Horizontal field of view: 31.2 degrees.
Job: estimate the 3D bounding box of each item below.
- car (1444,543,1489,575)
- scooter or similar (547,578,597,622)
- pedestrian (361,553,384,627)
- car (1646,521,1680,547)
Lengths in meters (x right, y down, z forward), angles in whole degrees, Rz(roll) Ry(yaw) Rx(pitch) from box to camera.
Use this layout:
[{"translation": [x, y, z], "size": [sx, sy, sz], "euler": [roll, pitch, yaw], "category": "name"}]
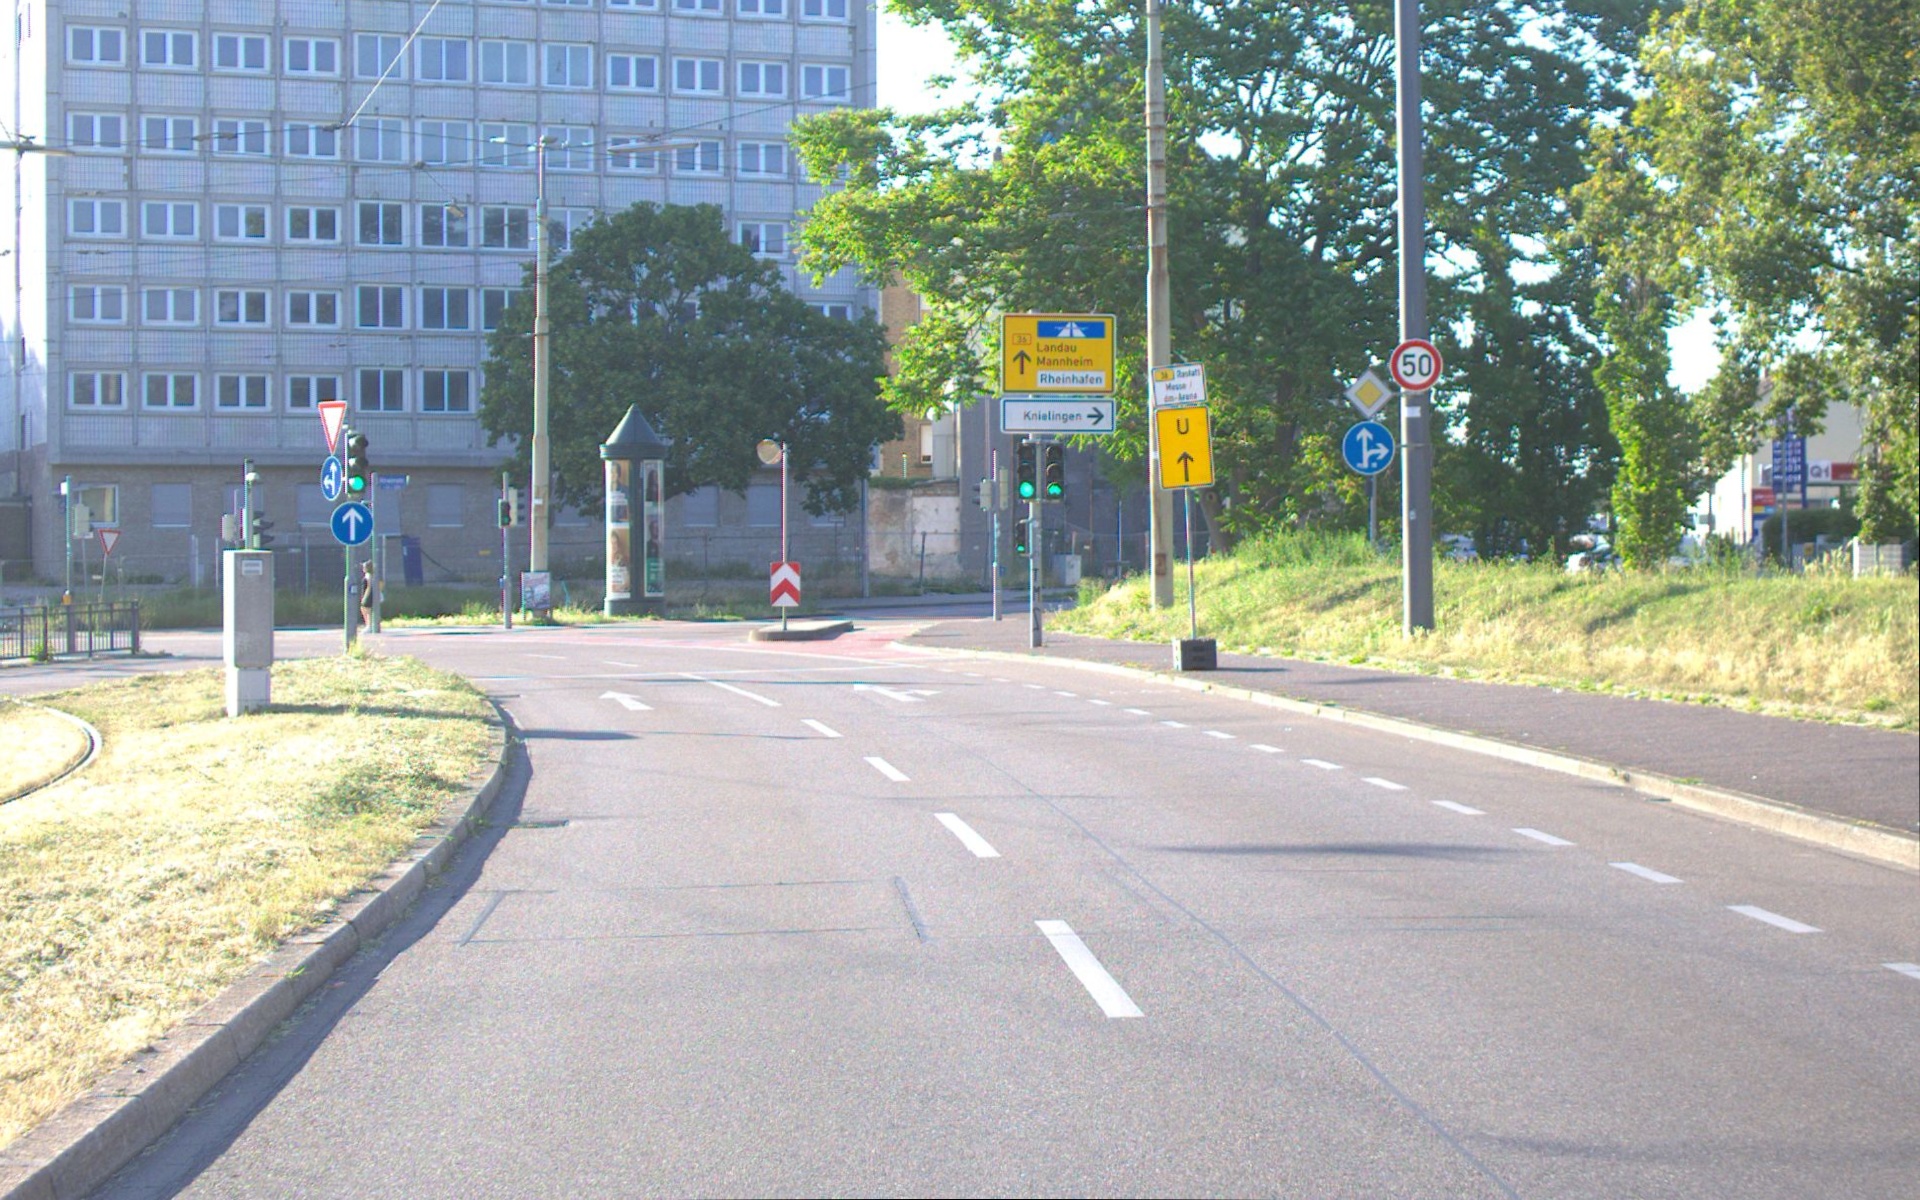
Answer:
[{"translation": [25.316, -2.054, 171.800], "size": [1.874, 1.453, 3.785], "euler": [-1, 1, 13], "category": "car"}, {"translation": [-10.690, 0.003, 94.668], "size": [1.296, 1.166, 0.327], "euler": [-1, 1, -20], "category": "scooter or similar"}, {"translation": [-13.044, -0.224, 76.328], "size": [0.436, 1.607, 0.630], "euler": [-1, 0, -11], "category": "pedestrian"}, {"translation": [44.239, -4.157, 216.223], "size": [1.860, 1.538, 3.998], "euler": [-1, 1, 14], "category": "car"}]
